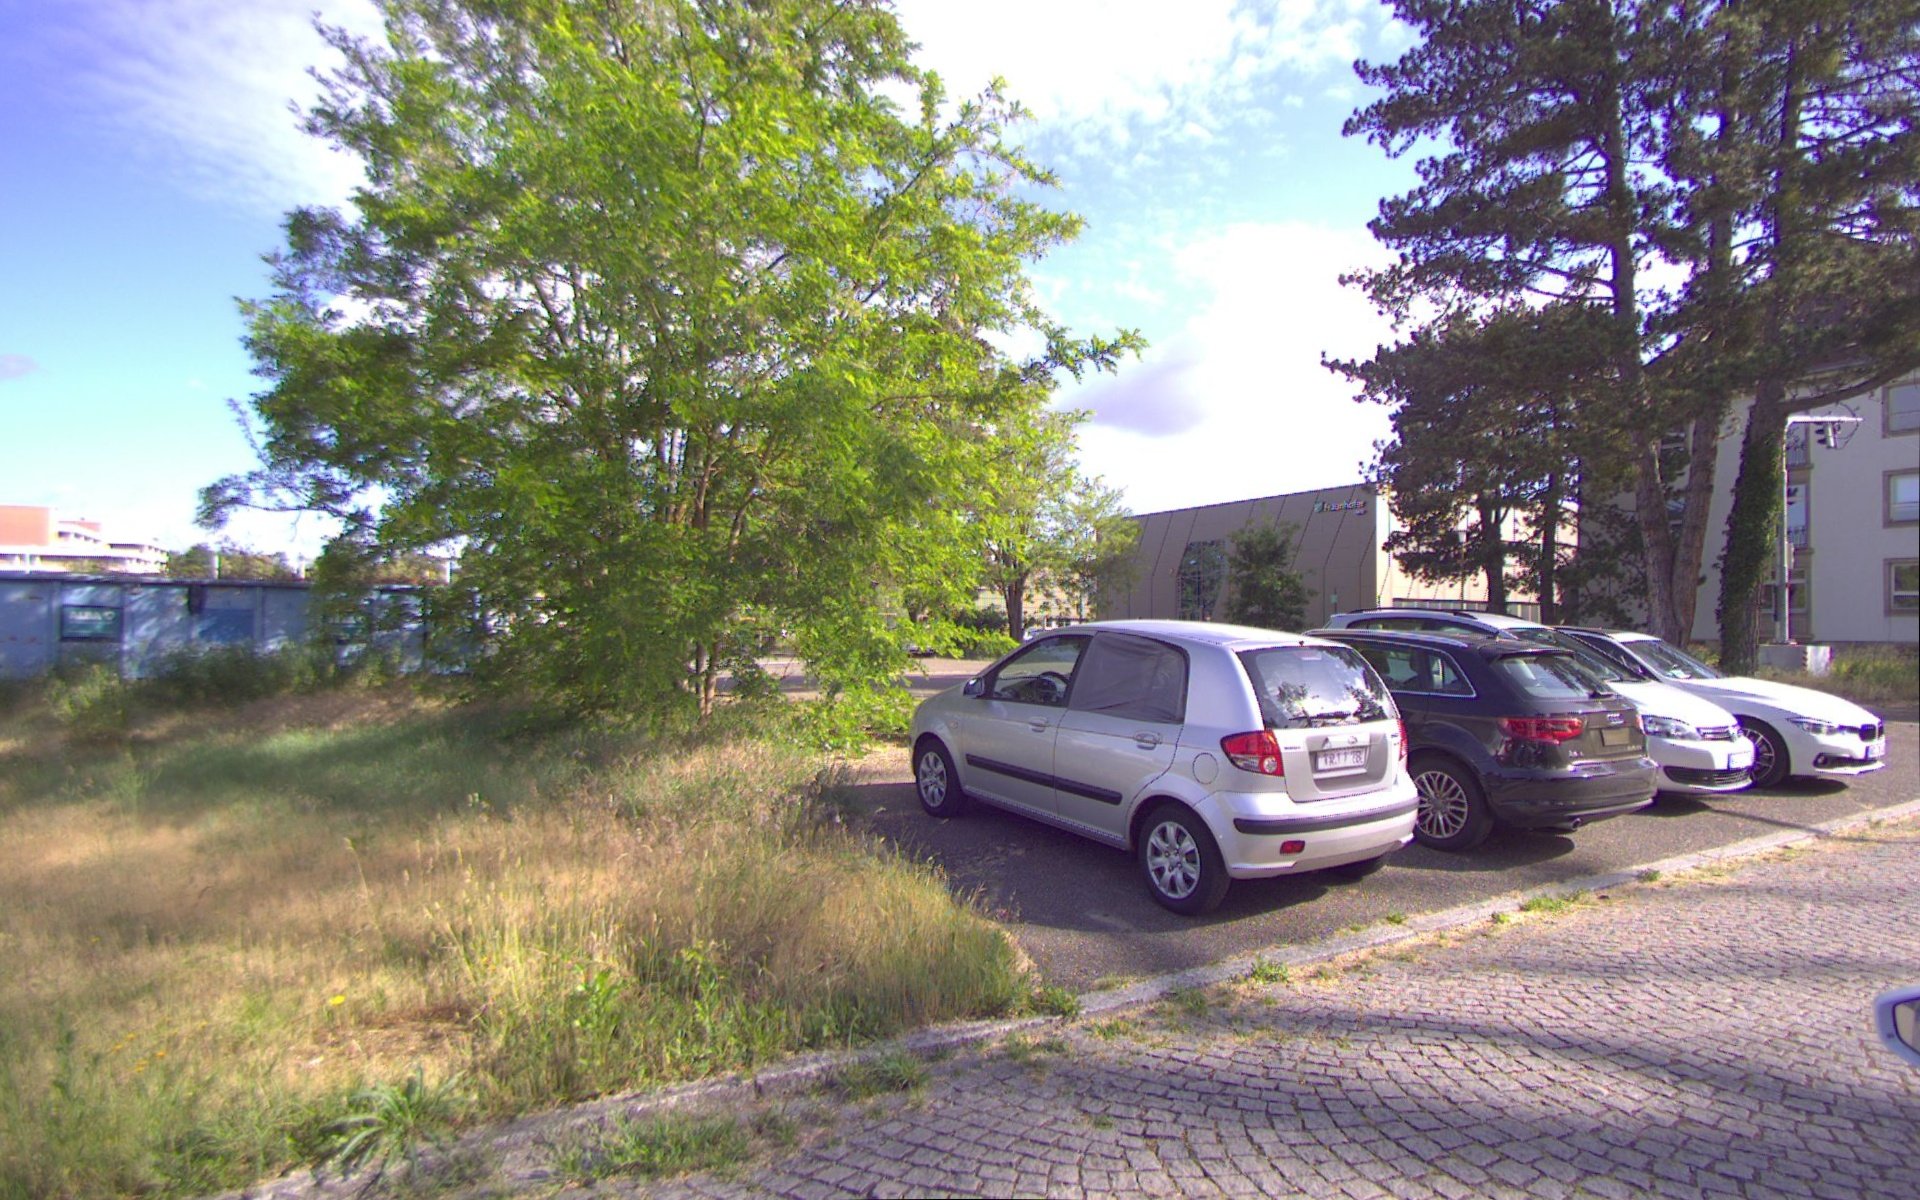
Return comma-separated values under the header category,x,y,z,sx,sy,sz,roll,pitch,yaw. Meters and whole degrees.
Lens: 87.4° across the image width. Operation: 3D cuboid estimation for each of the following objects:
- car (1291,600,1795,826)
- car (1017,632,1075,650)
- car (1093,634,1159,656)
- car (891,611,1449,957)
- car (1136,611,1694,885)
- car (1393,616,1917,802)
category,x,y,z,sx,sy,sz,roll,pitch,yaw
car,5.458,0.895,9.895,1.704,1.648,3.918,1,1,-35
car,6.065,2.857,70.669,3.949,1.221,1.481,1,-2,-28
car,10.317,2.768,62.399,4.001,1.311,1.481,1,-2,-29
car,1.096,0.891,6.599,1.619,1.490,3.444,1,1,-33
car,3.324,0.921,8.066,1.669,1.490,3.776,1,1,-31
car,7.442,1.005,11.296,1.734,1.487,4.514,1,1,-33
